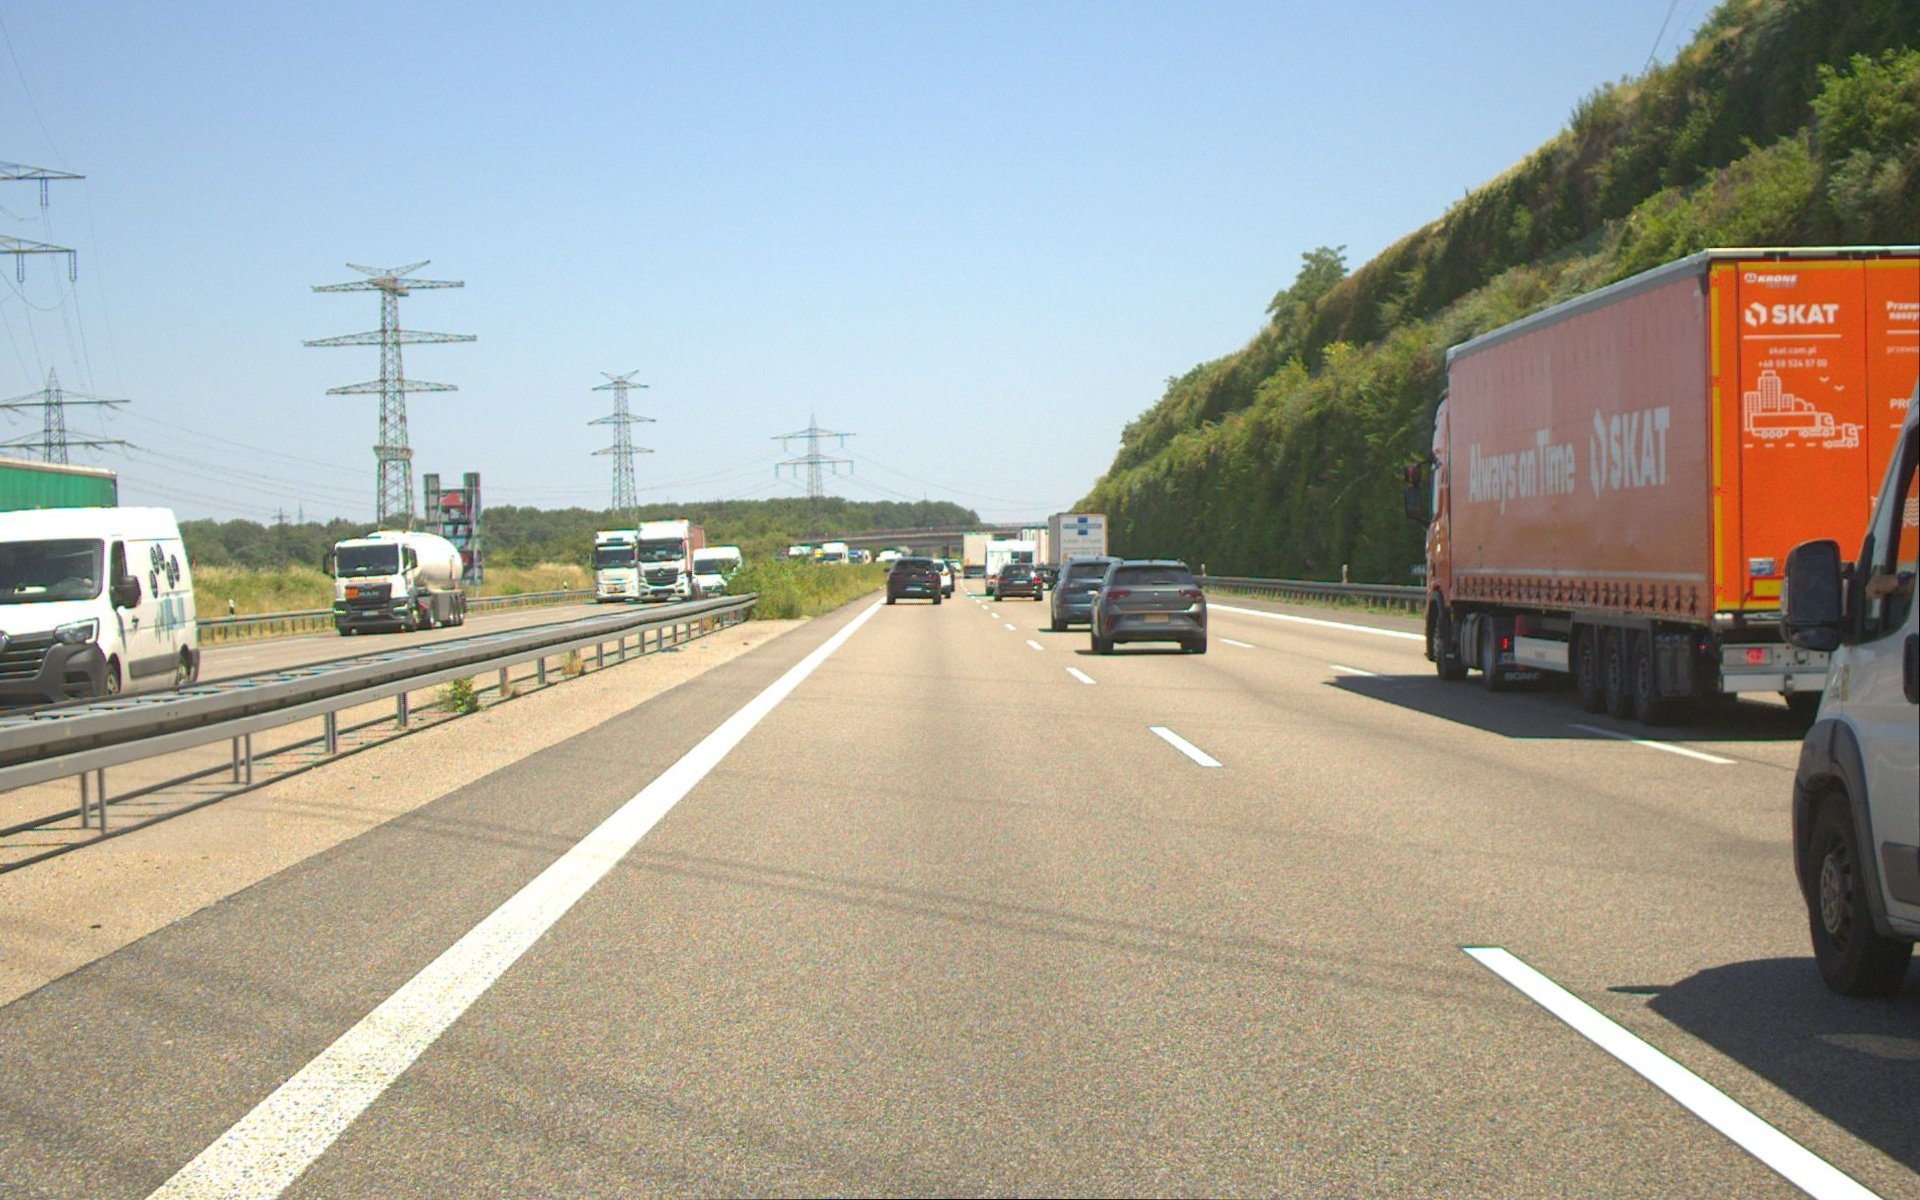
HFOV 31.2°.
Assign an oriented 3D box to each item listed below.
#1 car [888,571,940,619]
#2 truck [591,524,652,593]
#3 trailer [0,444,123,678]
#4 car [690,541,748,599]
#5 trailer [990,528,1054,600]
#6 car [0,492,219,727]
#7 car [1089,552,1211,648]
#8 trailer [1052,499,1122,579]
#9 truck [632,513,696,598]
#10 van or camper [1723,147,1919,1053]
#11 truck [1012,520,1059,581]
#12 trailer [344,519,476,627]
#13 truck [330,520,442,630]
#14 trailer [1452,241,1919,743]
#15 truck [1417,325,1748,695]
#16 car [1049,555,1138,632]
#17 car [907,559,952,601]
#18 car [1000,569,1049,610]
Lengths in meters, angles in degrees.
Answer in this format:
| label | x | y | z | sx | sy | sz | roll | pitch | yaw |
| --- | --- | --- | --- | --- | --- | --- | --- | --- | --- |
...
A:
| label | x | y | z | sx | sy | sz | roll | pitch | yaw |
| --- | --- | --- | --- | --- | --- | --- | --- | --- | --- |
| car | -1.663 | -0.190 | 126.186 | 1.830 | 1.665 | 4.000 | -2 | 1 | 0 |
| truck | -19.165 | -2.376 | 194.970 | 2.835 | 3.738 | 6.850 | -2 | 1 | -1 |
| trailer | -18.126 | -0.676 | 62.253 | 2.669 | 4.071 | 13.917 | -2 | 1 | -1 |
| car | -10.541 | -1.335 | 150.998 | 1.993 | 2.429 | 6.030 | -2 | 1 | 0 |
| trailer | 2.840 | -1.685 | 160.793 | 2.610 | 3.202 | 9.953 | -1 | 1 | -1 |
| car | -10.131 | 0.086 | 39.283 | 2.047 | 2.430 | 6.070 | -3 | 1 | -1 |
| car | 3.138 | -0.019 | 57.526 | 1.749 | 1.520 | 3.995 | -1 | 1 | -1 |
| trailer | 6.761 | -3.247 | 185.164 | 3.183 | 4.107 | 13.431 | -1 | 1 | 0 |
| truck | -15.162 | -2.302 | 176.338 | 2.600 | 4.197 | 5.909 | -2 | 1 | 0 |
| van or camper | 3.988 | 0.008 | 9.565 | 2.096 | 2.759 | 6.757 | -1 | 1 | -1 |
| truck | 5.526 | -3.605 | 252.595 | 3.119 | 4.265 | 11.934 | -1 | 1 | 0 |
| trailer | -18.428 | -0.944 | 115.929 | 2.416 | 3.360 | 11.563 | -2 | 1 | 0 |
| truck | -18.437 | -0.819 | 110.753 | 2.483 | 3.367 | 6.211 | -2 | 1 | 0 |
| trailer | 7.253 | -0.953 | 34.187 | 2.645 | 3.991 | 13.607 | 0 | 1 | 0 |
| truck | 7.178 | -1.017 | 40.506 | 2.618 | 3.979 | 6.527 | -1 | 1 | 0 |
| car | 2.944 | -0.170 | 76.533 | 1.794 | 1.647 | 4.138 | -1 | 1 | 0 |
| car | -1.288 | -0.856 | 145.649 | 1.830 | 1.665 | 4.000 | -2 | 1 | 0 |
| car | 2.514 | -0.430 | 135.029 | 1.830 | 1.520 | 4.000 | -2 | 1 | 1 |
